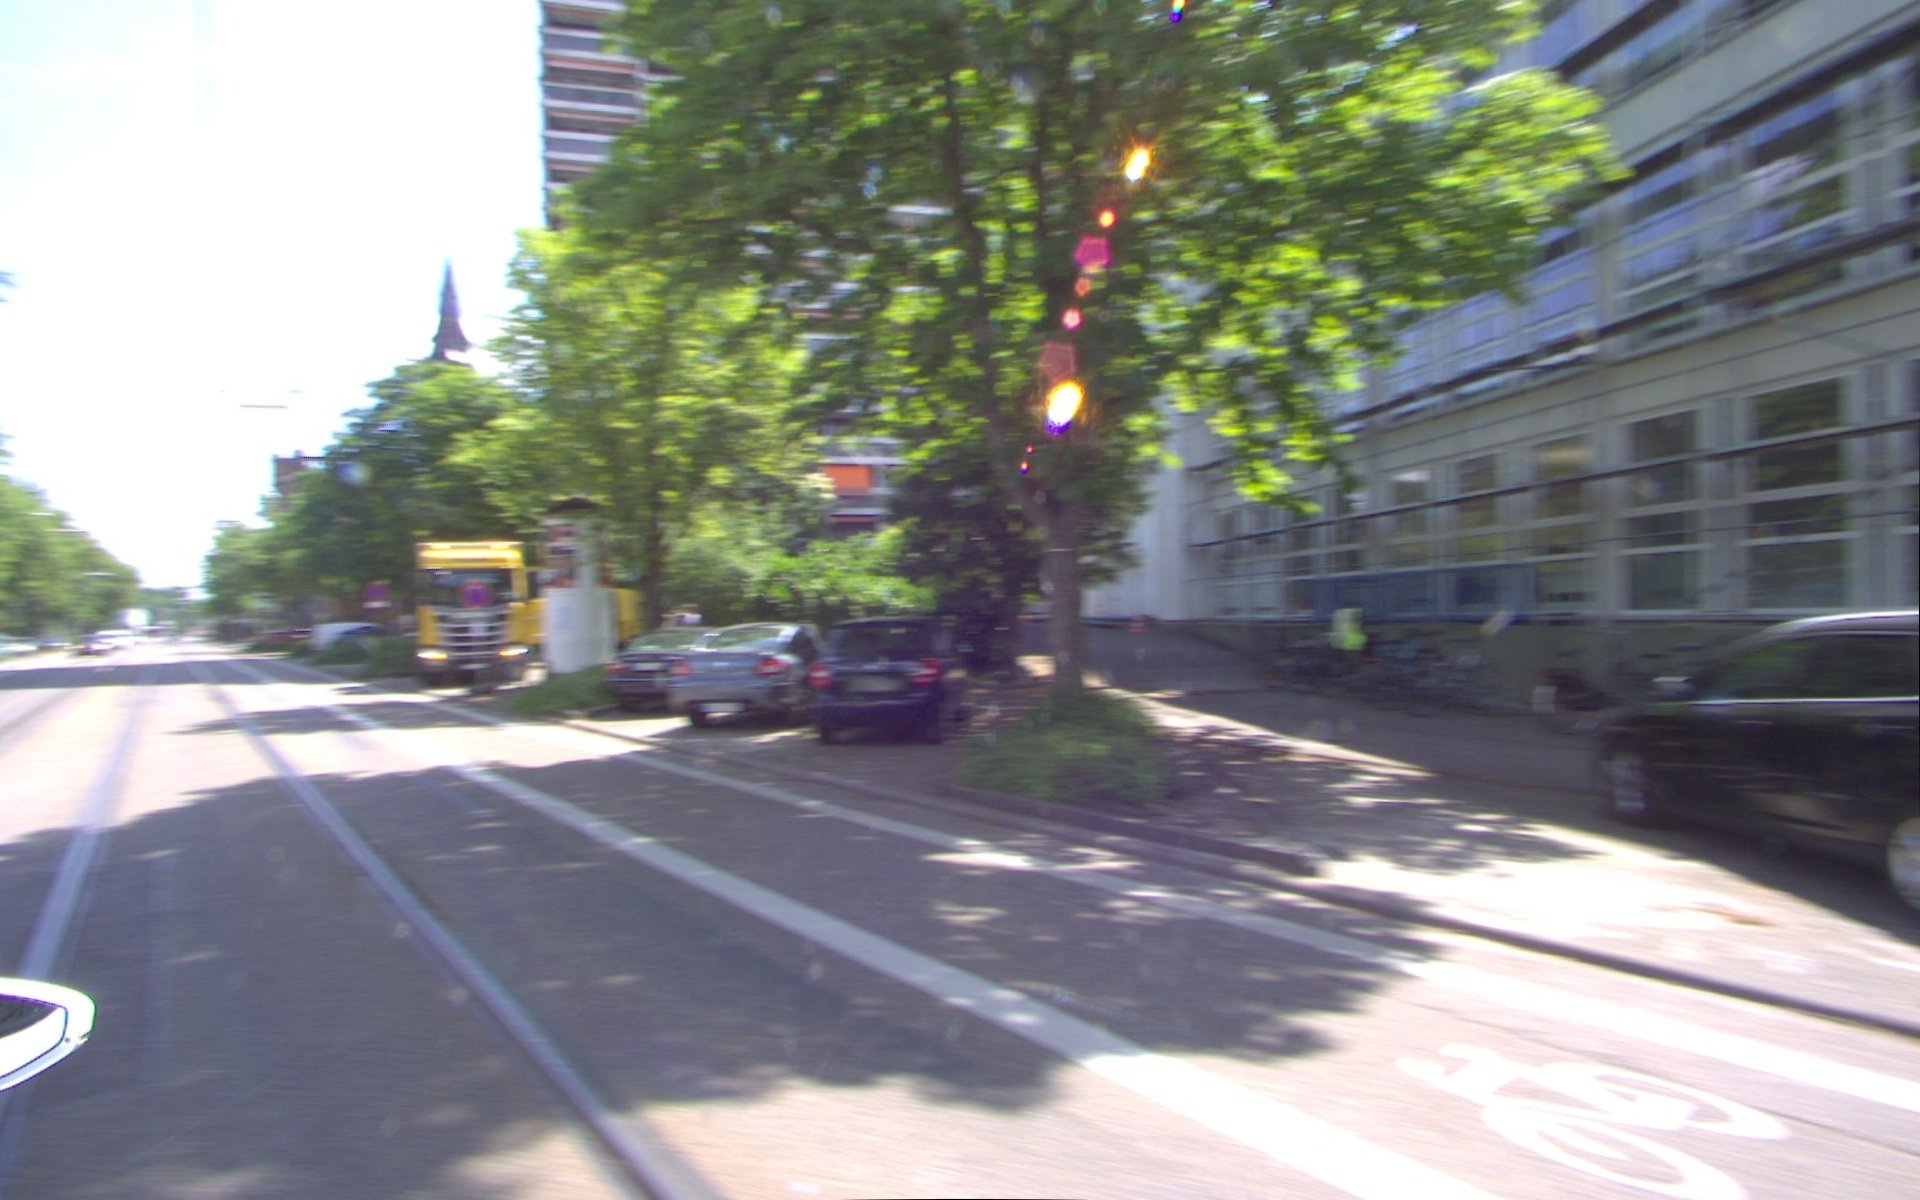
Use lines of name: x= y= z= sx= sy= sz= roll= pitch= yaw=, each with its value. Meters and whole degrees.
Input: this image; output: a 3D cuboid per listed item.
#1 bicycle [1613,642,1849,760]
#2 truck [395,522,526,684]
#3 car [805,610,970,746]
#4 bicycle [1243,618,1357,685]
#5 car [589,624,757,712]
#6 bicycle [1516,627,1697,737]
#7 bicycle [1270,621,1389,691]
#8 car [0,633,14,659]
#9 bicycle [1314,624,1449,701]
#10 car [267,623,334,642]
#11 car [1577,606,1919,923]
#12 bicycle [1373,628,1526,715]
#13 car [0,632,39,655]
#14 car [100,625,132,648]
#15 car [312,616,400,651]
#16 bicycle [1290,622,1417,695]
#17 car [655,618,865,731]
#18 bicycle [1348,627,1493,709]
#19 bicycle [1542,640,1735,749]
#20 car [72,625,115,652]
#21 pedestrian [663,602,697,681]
bicycle: x=8.022 y=1.028 z=10.438 sx=2.192 sy=1.145 sz=0.568 roll=0 pitch=0 yaw=-8
truck: x=-14.638 y=0.173 z=30.004 sx=2.705 sy=4.058 sz=9.717 roll=-1 pitch=-1 yaw=-22
car: x=-0.809 y=0.919 z=13.081 sx=1.618 sy=1.536 sz=3.576 roll=0 pitch=-1 yaw=5
bicycle: x=6.056 y=0.910 z=17.849 sx=1.892 sy=1.145 sz=0.568 roll=0 pitch=0 yaw=-11
car: x=-5.031 y=1.149 z=18.114 sx=1.598 sy=1.390 sz=4.023 roll=0 pitch=-1 yaw=5
bicycle: x=7.769 y=0.967 z=12.054 sx=1.907 sy=1.253 sz=0.568 roll=0 pitch=0 yaw=-8
bicycle: x=6.311 y=0.940 z=17.110 sx=1.892 sy=1.145 sz=0.568 roll=0 pitch=0 yaw=-11
car: x=-57.403 y=2.726 z=59.040 sx=1.977 sy=1.505 sz=4.304 roll=0 pitch=-1 yaw=-39
bicycle: x=6.563 y=0.960 z=15.611 sx=1.907 sy=1.145 sz=0.568 roll=0 pitch=0 yaw=-8
car: x=-52.332 y=2.560 z=79.499 sx=1.970 sy=1.505 sz=3.983 roll=-1 pitch=-1 yaw=29
car: x=5.434 y=0.785 z=5.523 sx=1.720 sy=1.489 sz=4.198 roll=0 pitch=-1 yaw=5
bicycle: x=6.756 y=0.975 z=13.843 sx=1.907 sy=1.145 sz=0.568 roll=0 pitch=0 yaw=-8
car: x=-67.704 y=3.092 z=72.088 sx=1.807 sy=1.594 sz=3.968 roll=0 pitch=-1 yaw=-39
car: x=-75.234 y=3.246 z=89.276 sx=1.976 sy=2.040 sz=3.970 roll=0 pitch=-1 yaw=-38
car: x=-32.452 y=1.801 z=53.932 sx=1.801 sy=1.817 sz=3.997 roll=-1 pitch=-1 yaw=13
bicycle: x=6.411 y=0.938 z=16.344 sx=1.891 sy=1.145 sz=0.568 roll=0 pitch=0 yaw=-8
car: x=-2.876 y=1.032 z=15.350 sx=1.785 sy=1.482 sz=4.021 roll=-1 pitch=-1 yaw=11
bicycle: x=6.719 y=0.978 z=14.636 sx=1.907 sy=1.145 sz=0.568 roll=0 pitch=0 yaw=-8
bicycle: x=7.626 y=1.041 z=11.275 sx=1.907 sy=1.145 sz=0.568 roll=0 pitch=0 yaw=-8
car: x=-57.754 y=2.568 z=66.804 sx=1.976 sy=1.711 sz=3.970 roll=0 pitch=-1 yaw=-38
pedestrian: x=-6.844 y=1.005 z=24.446 sx=0.704 sy=1.899 sz=0.575 roll=0 pitch=0 yaw=-25
